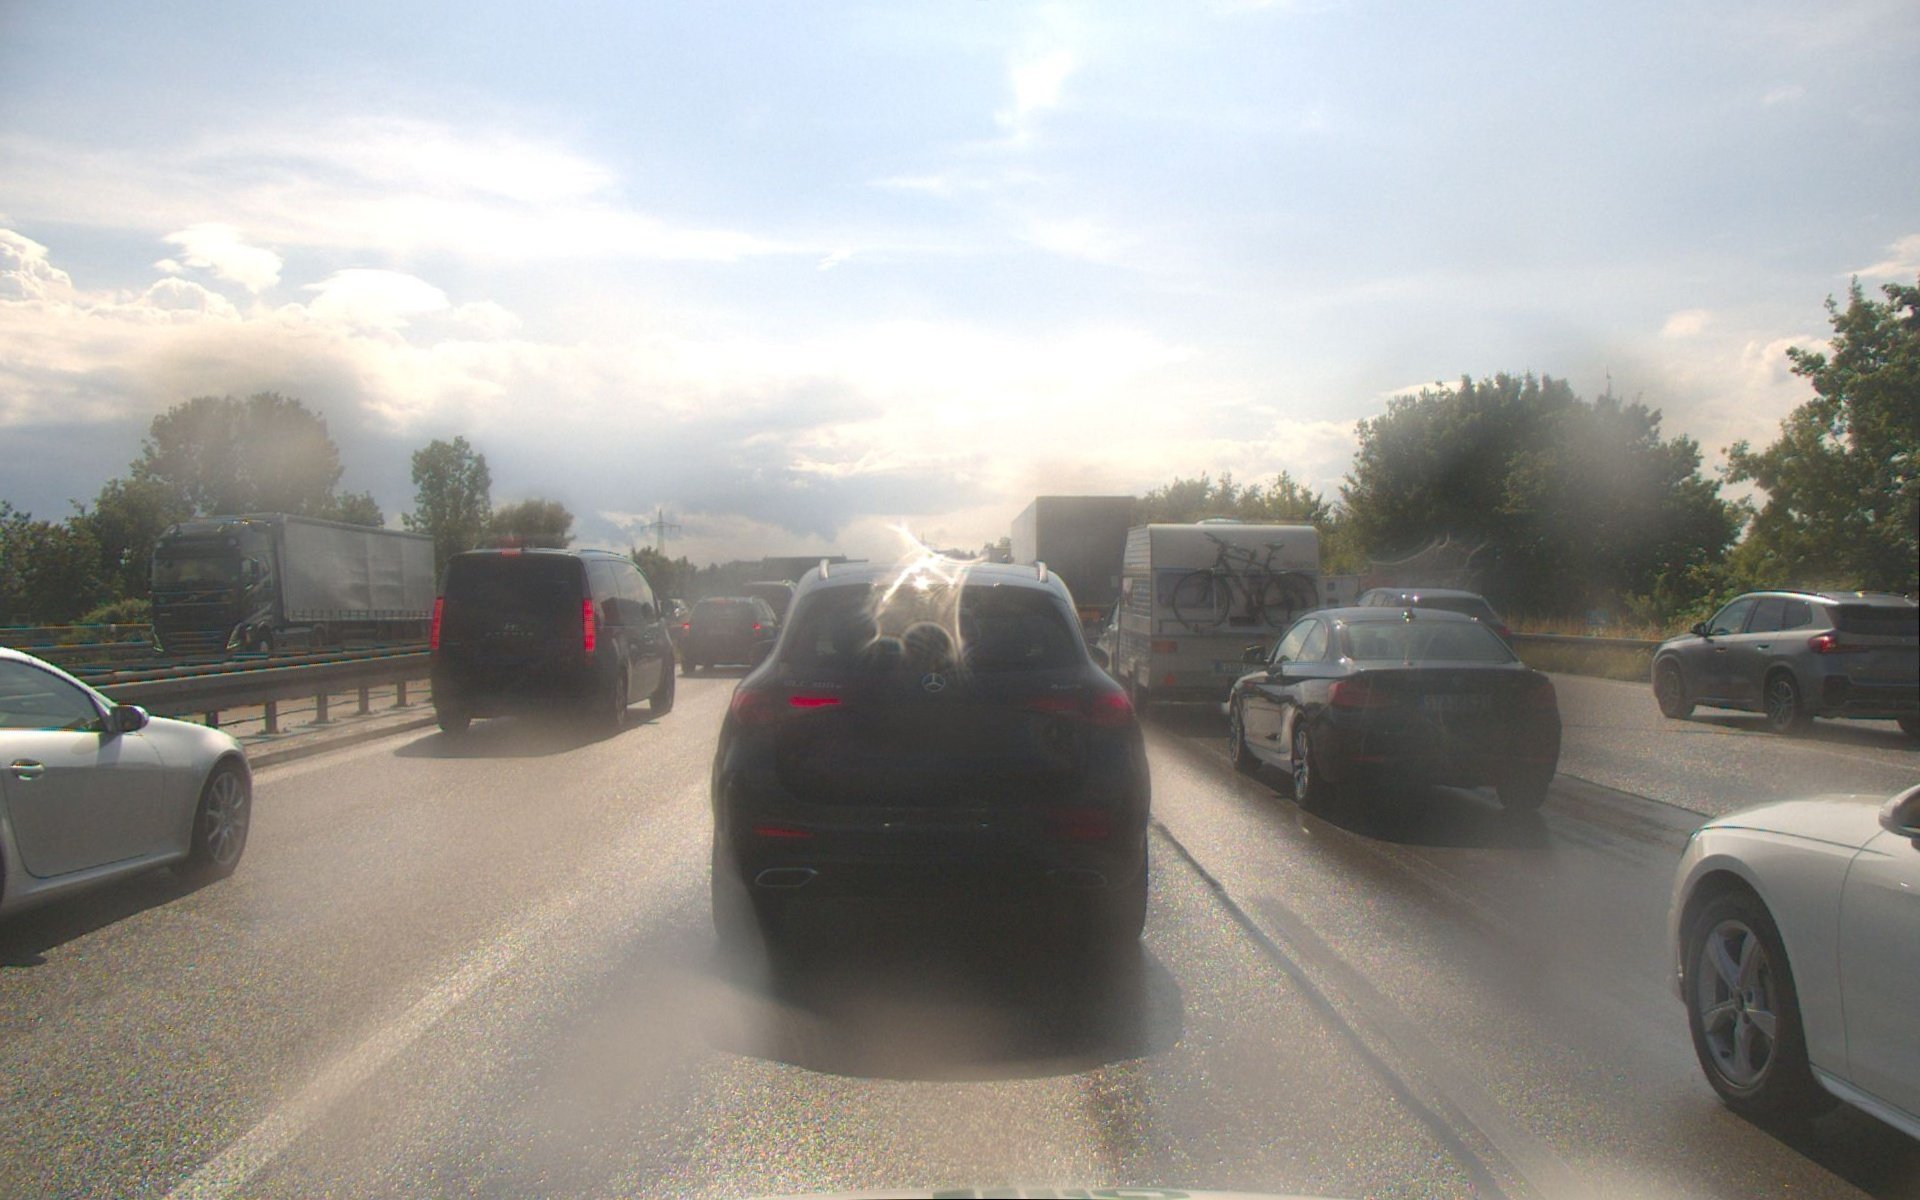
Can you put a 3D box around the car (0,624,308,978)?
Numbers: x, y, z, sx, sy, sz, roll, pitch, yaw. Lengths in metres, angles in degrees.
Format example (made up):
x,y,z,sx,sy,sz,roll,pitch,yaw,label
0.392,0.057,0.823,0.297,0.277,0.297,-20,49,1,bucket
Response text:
x,y,z,sx,sy,sz,roll,pitch,yaw,label
-4.538,0.795,7.366,1.689,1.300,4.063,0,0,-1,car

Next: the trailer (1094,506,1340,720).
x,y,z,sx,sy,sz,roll,pitch,yaw,label
3.339,0.166,23.034,2.326,2.527,6.522,1,0,-1,trailer

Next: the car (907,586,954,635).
x,y,z,sx,sy,sz,roll,pitch,yaw,label
-1.265,0.444,71.923,1.952,2.049,4.000,0,0,0,car

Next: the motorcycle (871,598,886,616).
x,y,z,sx,sy,sz,roll,pitch,yaw,label
-6.152,0.534,124.816,1.052,1.293,2.690,0,0,0,motorcycle

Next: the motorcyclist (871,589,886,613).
x,y,z,sx,sy,sz,roll,pitch,yaw,label
-6.145,0.083,124.891,1.042,1.748,0.785,1,0,0,motorcyclist

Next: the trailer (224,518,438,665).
x,y,z,sx,sy,sz,roll,pitch,yaw,label
-19.842,-0.245,53.061,2.944,4.175,10.474,-1,0,-1,trailer

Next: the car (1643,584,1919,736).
x,y,z,sx,sy,sz,roll,pitch,yaw,label
10.046,0.651,19.853,1.714,1.614,4.283,1,0,-4,car

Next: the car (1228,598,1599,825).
x,y,z,sx,sy,sz,roll,pitch,yaw,label
3.347,0.743,13.086,1.810,1.490,4.256,0,0,1,car

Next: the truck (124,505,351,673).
x,y,z,sx,sy,sz,roll,pitch,yaw,label
-19.736,-0.268,45.782,2.944,4.175,7.685,-1,0,-1,truck

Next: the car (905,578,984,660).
x,y,z,sx,sy,sz,roll,pitch,yaw,label
-0.392,0.478,43.576,1.953,2.049,4.000,1,0,0,car

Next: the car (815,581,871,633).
x,y,z,sx,sy,sz,roll,pitch,yaw,label
-5.001,0.306,71.158,1.953,2.048,4.000,4,0,0,car

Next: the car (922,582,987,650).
x,y,z,sx,sy,sz,roll,pitch,yaw,label
-0.176,0.508,55.120,1.953,2.048,4.000,4,0,0,car

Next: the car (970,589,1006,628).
x,y,z,sx,sy,sz,roll,pitch,yaw,label
1.543,0.480,92.421,1.953,2.049,4.000,2,0,0,car

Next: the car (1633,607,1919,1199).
x,y,z,sx,sy,sz,roll,pitch,yaw,label
3.270,0.772,3.304,1.790,1.450,4.508,2,-1,-3,car

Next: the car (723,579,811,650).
x,y,z,sx,sy,sz,roll,pitch,yaw,label
-5.021,0.381,43.521,1.953,1.750,3.998,1,0,-2,car

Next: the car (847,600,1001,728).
x,y,z,sx,sy,sz,roll,pitch,yaw,label
-0.387,0.713,20.442,1.721,1.411,3.945,0,0,0,car

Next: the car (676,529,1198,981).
x,y,z,sx,sy,sz,roll,pitch,yaw,label
-0.105,0.592,8.415,1.953,1.690,4.405,0,0,-1,car

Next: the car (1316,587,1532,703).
x,y,z,sx,sy,sz,roll,pitch,yaw,label
6.942,0.619,25.278,1.953,1.609,4.652,0,0,-1,car

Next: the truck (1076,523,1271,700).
x,y,z,sx,sy,sz,roll,pitch,yaw,label
3.294,0.174,26.811,2.326,2.520,5.755,1,0,-1,truck

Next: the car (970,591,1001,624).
x,y,z,sx,sy,sz,roll,pitch,yaw,label
1.707,0.525,111.697,1.953,2.048,4.000,4,0,0,car

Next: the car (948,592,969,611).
x,y,z,sx,sy,sz,roll,pitch,yaw,label
-0.180,0.182,161.513,1.839,1.791,3.997,1,0,-3,car

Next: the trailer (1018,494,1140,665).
x,y,z,sx,sy,sz,roll,pitch,yaw,label
3.134,-0.497,45.650,2.945,4.239,8.537,1,0,2,trailer

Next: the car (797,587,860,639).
x,y,z,sx,sy,sz,roll,pitch,yaw,label
-4.730,0.457,60.017,1.952,1.803,4.000,0,0,0,car

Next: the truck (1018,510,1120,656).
x,y,z,sx,sy,sz,roll,pitch,yaw,label
3.297,-0.498,51.233,2.933,4.239,5.241,1,0,2,truck

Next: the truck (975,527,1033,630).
x,y,z,sx,sy,sz,roll,pitch,yaw,label
2.148,-1.026,83.471,2.451,4.914,7.540,1,0,-2,truck

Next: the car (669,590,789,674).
x,y,z,sx,sy,sz,roll,pitch,yaw,label
-4.470,0.583,32.528,1.721,1.543,4.209,0,0,0,car

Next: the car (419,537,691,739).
x,y,z,sx,sy,sz,roll,pitch,yaw,label
-4.549,0.384,19.485,1.953,2.049,5.268,0,0,-1,car

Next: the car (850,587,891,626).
x,y,z,sx,sy,sz,roll,pitch,yaw,label
-4.955,0.362,92.170,1.953,2.049,4.000,3,0,0,car

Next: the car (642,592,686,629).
x,y,z,sx,sy,sz,roll,pitch,yaw,label
-16.791,0.637,93.977,1.953,2.049,3.998,0,-1,-2,car

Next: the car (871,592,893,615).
x,y,z,sx,sy,sz,roll,pitch,yaw,label
-7.486,0.292,158.505,1.954,2.048,3.998,4,0,-3,car

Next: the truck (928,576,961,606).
x,y,z,sx,sy,sz,roll,pitch,yaw,label
-2.214,-1.184,232.350,3.767,4.087,11.211,1,0,-4,truck
